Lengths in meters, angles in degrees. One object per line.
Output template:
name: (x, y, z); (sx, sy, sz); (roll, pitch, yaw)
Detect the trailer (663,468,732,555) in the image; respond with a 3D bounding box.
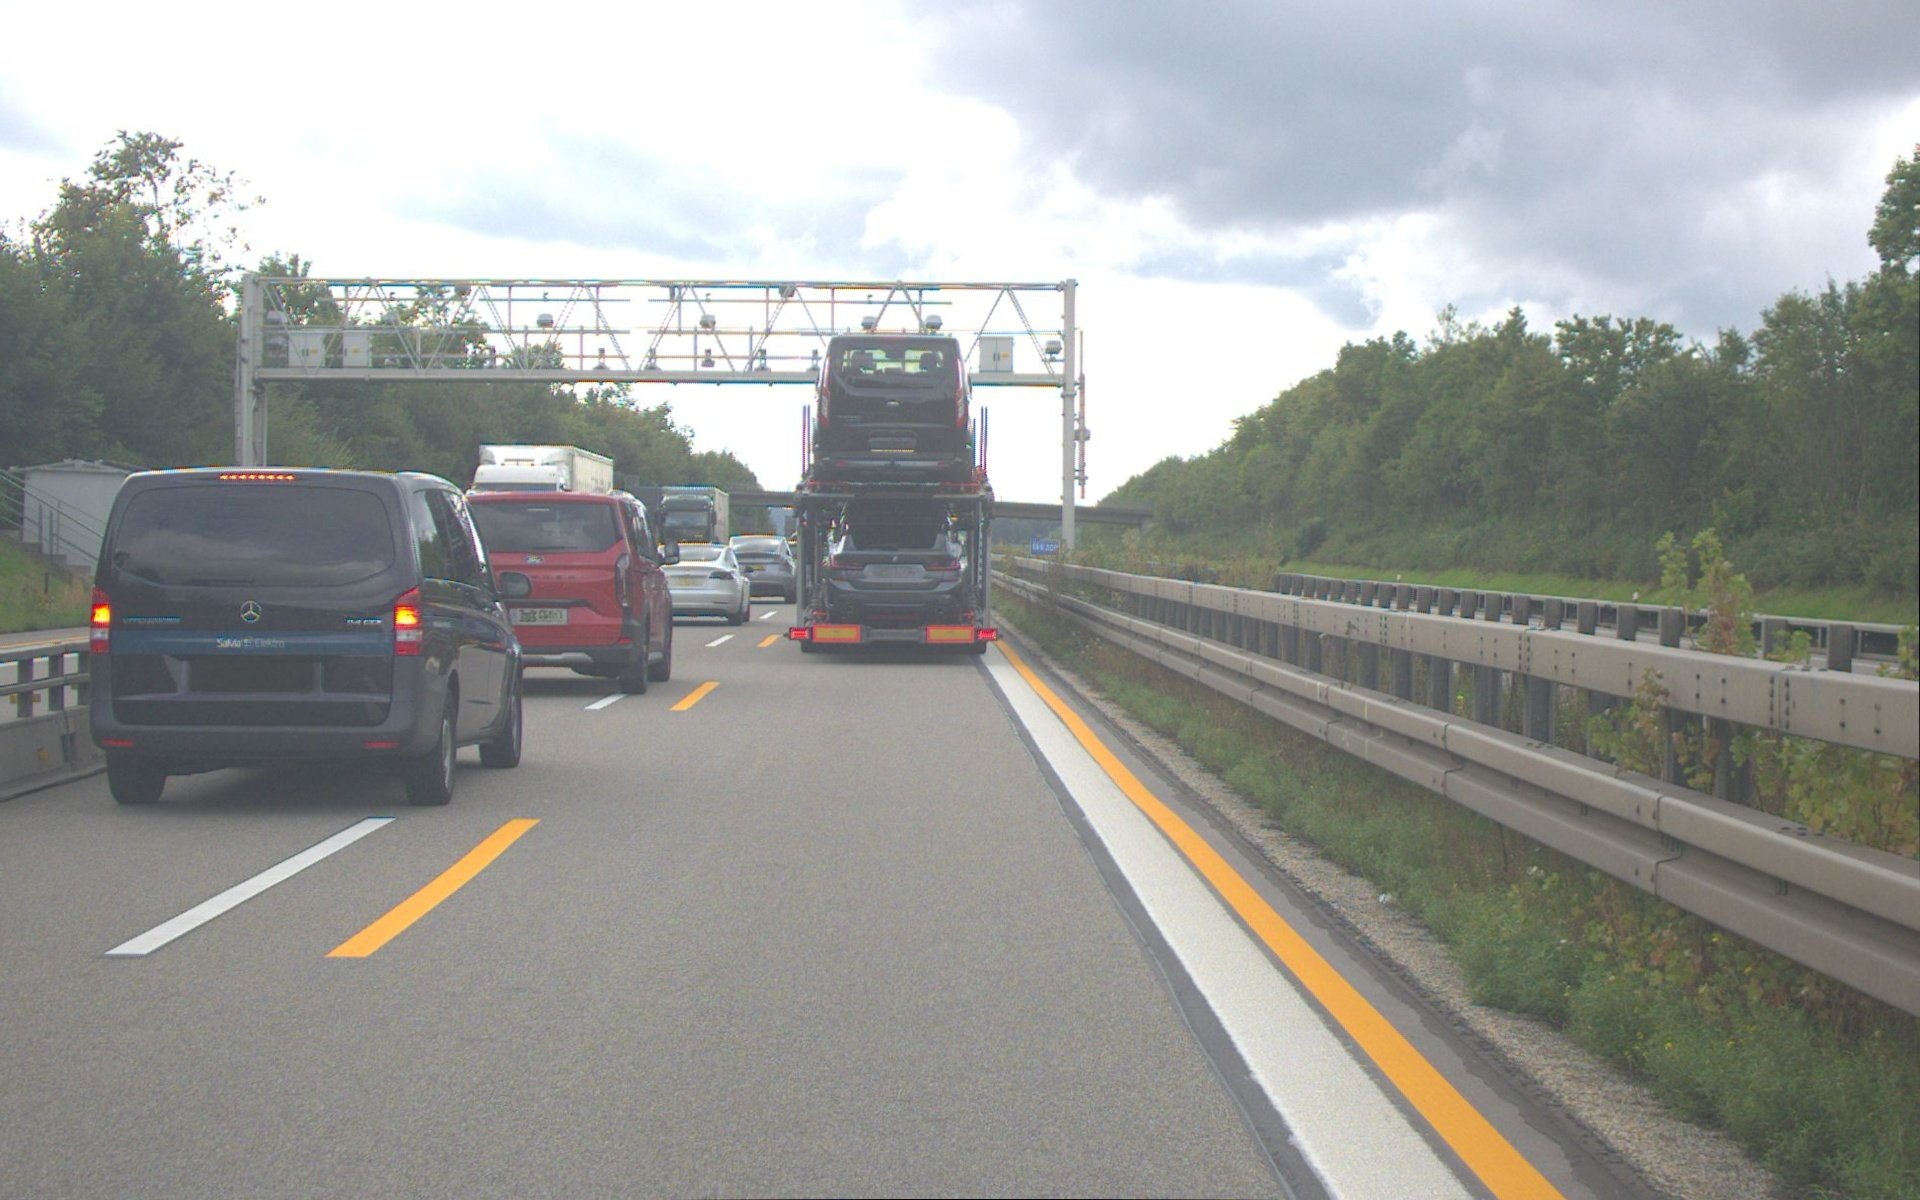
trailer: (-13.137, -4.432, 172.974); (2.598, 4.140, 13.993); (1, 1, -1)

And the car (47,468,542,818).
car: (-3.831, 0.181, 20.850); (1.993, 1.837, 5.610); (0, 1, -1)

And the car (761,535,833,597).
car: (-4.710, -1.003, 99.899); (2.031, 1.751, 4.578); (0, 1, -2)

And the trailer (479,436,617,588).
trailer: (-12.003, -2.591, 101.386); (2.598, 4.140, 13.993); (1, 1, -1)

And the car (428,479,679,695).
car: (-3.974, -0.155, 34.337); (2.031, 2.007, 4.578); (0, 1, -1)

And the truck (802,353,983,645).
truck: (-0.974, -1.470, 51.444); (2.515, 4.091, 5.685); (1, 1, 0)

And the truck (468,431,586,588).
truck: (-11.850, -2.489, 94.489); (2.598, 4.140, 5.621); (1, 1, -1)

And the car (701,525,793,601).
car: (-5.062, -0.902, 82.060); (2.031, 1.751, 4.578); (0, 1, -2)

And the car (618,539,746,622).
car: (-4.956, -0.374, 61.801); (2.031, 1.426, 4.578); (0, 1, -2)

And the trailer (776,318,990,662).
trailer: (-0.951, -1.399, 46.699); (2.515, 4.091, 11.114); (1, 1, 0)

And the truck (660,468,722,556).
truck: (-12.997, -4.272, 166.250); (2.598, 4.140, 5.621); (1, 1, -1)
